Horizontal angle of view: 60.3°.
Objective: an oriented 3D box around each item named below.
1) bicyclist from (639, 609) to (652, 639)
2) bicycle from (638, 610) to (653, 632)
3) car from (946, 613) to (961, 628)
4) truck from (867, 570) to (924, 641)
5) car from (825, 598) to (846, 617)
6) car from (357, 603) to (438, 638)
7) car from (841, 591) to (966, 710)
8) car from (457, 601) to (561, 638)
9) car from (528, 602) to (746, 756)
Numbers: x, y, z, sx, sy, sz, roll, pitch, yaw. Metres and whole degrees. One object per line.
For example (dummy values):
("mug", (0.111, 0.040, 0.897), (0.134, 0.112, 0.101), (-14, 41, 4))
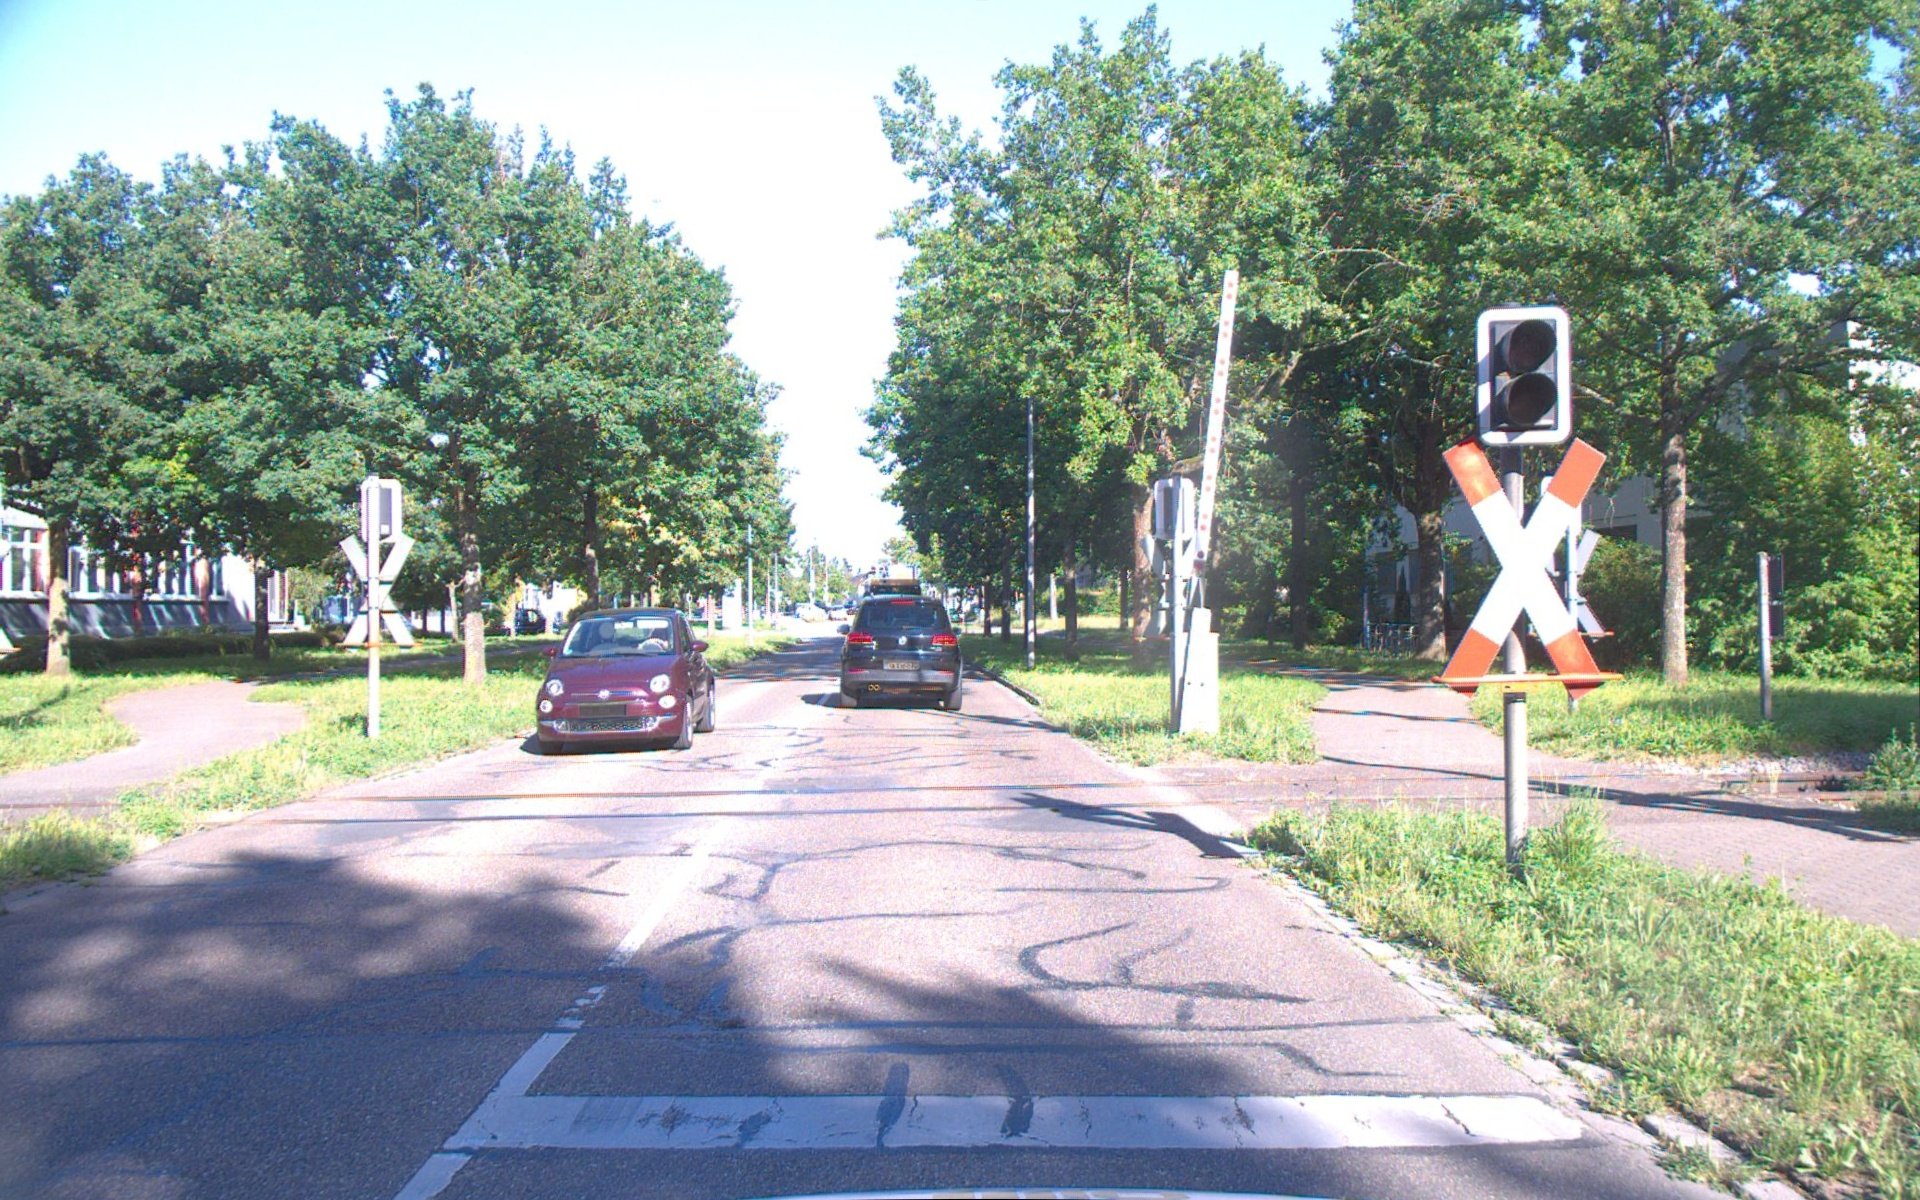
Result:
("bicyclist", (-20.271, 1.541, 106.641), (0.672, 1.863, 0.933), (1, 0, -3))
("bicycle", (-20.292, 1.343, 106.727), (0.703, 1.344, 1.990), (1, 0, -3))
("car", (-0.614, 1.968, 160.095), (1.423, 1.430, 2.855), (1, 0, -1))
("truck", (-3.128, 0.251, 82.045), (2.461, 3.300, 8.151), (-1, 0, 0))
("car", (-13.444, 0.796, 178.523), (1.956, 2.049, 3.993), (1, 0, -8))
("car", (-28.248, 1.009, 83.161), (3.288, 1.671, 2.001), (1, 0, 3))
("car", (-0.802, 0.723, 25.583), (1.746, 1.662, 4.000), (1, 0, 0))
("car", (-26.314, 1.119, 96.629), (5.689, 2.049, 1.994), (1, 0, -13))
("car", (-3.556, 0.810, 18.897), (1.533, 1.531, 4.001), (-2, 0, 2))
